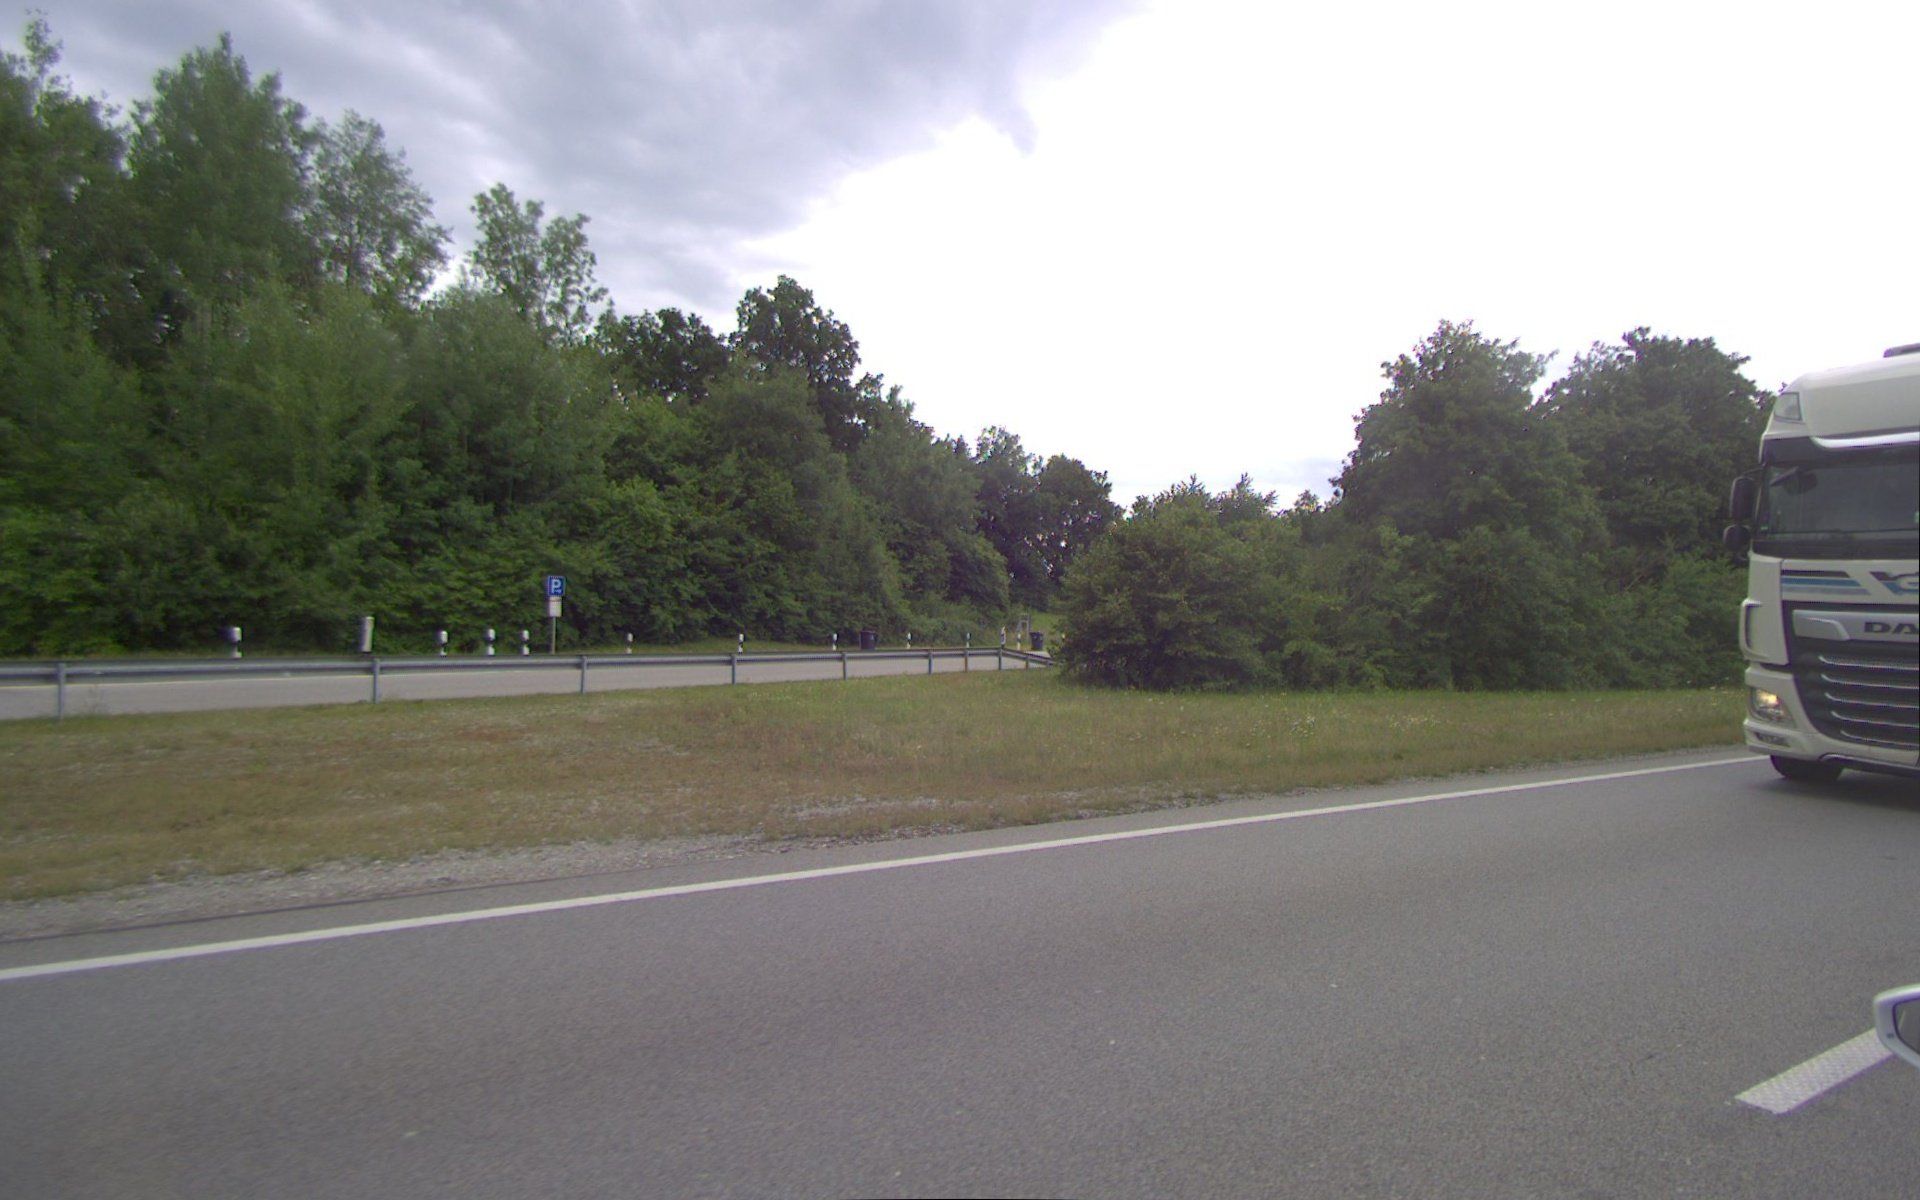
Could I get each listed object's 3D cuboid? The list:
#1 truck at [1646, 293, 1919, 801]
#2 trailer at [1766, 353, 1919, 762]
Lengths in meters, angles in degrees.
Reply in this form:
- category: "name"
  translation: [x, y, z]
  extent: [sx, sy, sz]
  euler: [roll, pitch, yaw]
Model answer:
- category: "truck"
  translation: [11.648, -0.310, 10.887]
  extent: [9.464, 4.116, 3.174]
  euler: [2, 0, -30]
- category: "trailer"
  translation: [15.915, -0.238, 13.419]
  extent: [14.106, 4.121, 3.188]
  euler: [2, 0, -31]
